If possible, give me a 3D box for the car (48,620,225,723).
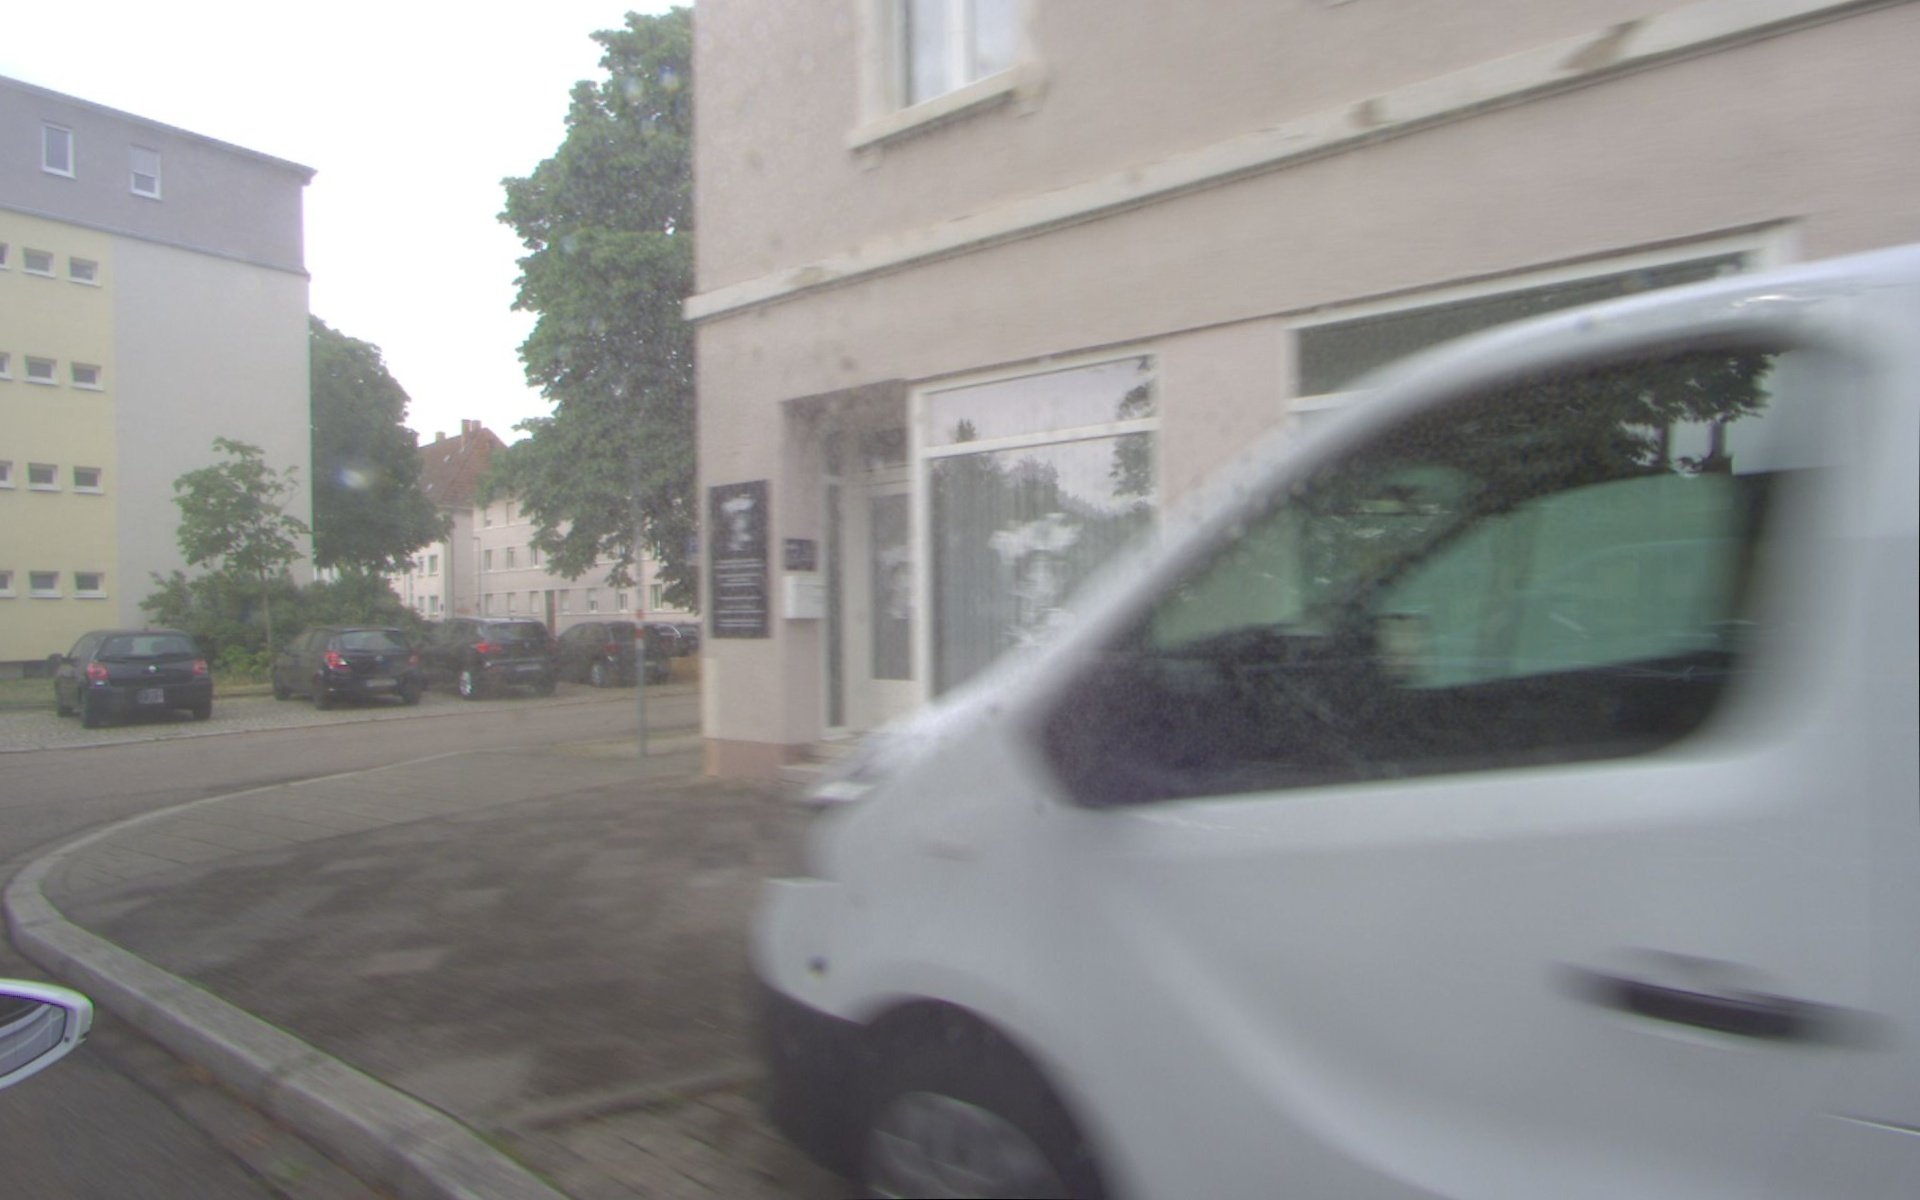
[{"bbox_3d":[-13.976,1.087,16.893,4.512,1.483,1.825,-1,-1,44],"label":"car"}]

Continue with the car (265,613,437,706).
[{"bbox_3d":[-11.823,1.052,19.329,4.311,1.586,1.825,-1,-1,44],"label":"car"}]

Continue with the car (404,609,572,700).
[{"bbox_3d":[-9.927,1.055,20.934,4.026,1.720,1.899,-1,-1,44],"label":"car"}]

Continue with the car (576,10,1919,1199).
[{"bbox_3d":[1.658,0.395,1.714,4.946,2.022,1.872,-1,0,35],"label":"car"}]

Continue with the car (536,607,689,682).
[{"bbox_3d":[-8.239,1.026,23.598,3.802,1.598,1.814,-2,-1,43],"label":"car"}]

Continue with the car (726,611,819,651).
[{"bbox_3d":[-8.536,1.407,45.405,4.237,1.696,1.835,-2,0,39],"label":"car"}]

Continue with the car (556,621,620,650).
[{"bbox_3d":[-20.787,1.982,55.906,3.782,1.545,1.688,-2,0,41],"label":"car"}]

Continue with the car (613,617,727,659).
[{"bbox_3d":[-10.923,1.438,37.559,4.780,1.482,1.859,-2,-4,41],"label":"car"}]

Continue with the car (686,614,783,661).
[{"bbox_3d":[-7.740,1.297,34.197,3.554,1.512,1.517,-2,-4,43],"label":"car"}]
